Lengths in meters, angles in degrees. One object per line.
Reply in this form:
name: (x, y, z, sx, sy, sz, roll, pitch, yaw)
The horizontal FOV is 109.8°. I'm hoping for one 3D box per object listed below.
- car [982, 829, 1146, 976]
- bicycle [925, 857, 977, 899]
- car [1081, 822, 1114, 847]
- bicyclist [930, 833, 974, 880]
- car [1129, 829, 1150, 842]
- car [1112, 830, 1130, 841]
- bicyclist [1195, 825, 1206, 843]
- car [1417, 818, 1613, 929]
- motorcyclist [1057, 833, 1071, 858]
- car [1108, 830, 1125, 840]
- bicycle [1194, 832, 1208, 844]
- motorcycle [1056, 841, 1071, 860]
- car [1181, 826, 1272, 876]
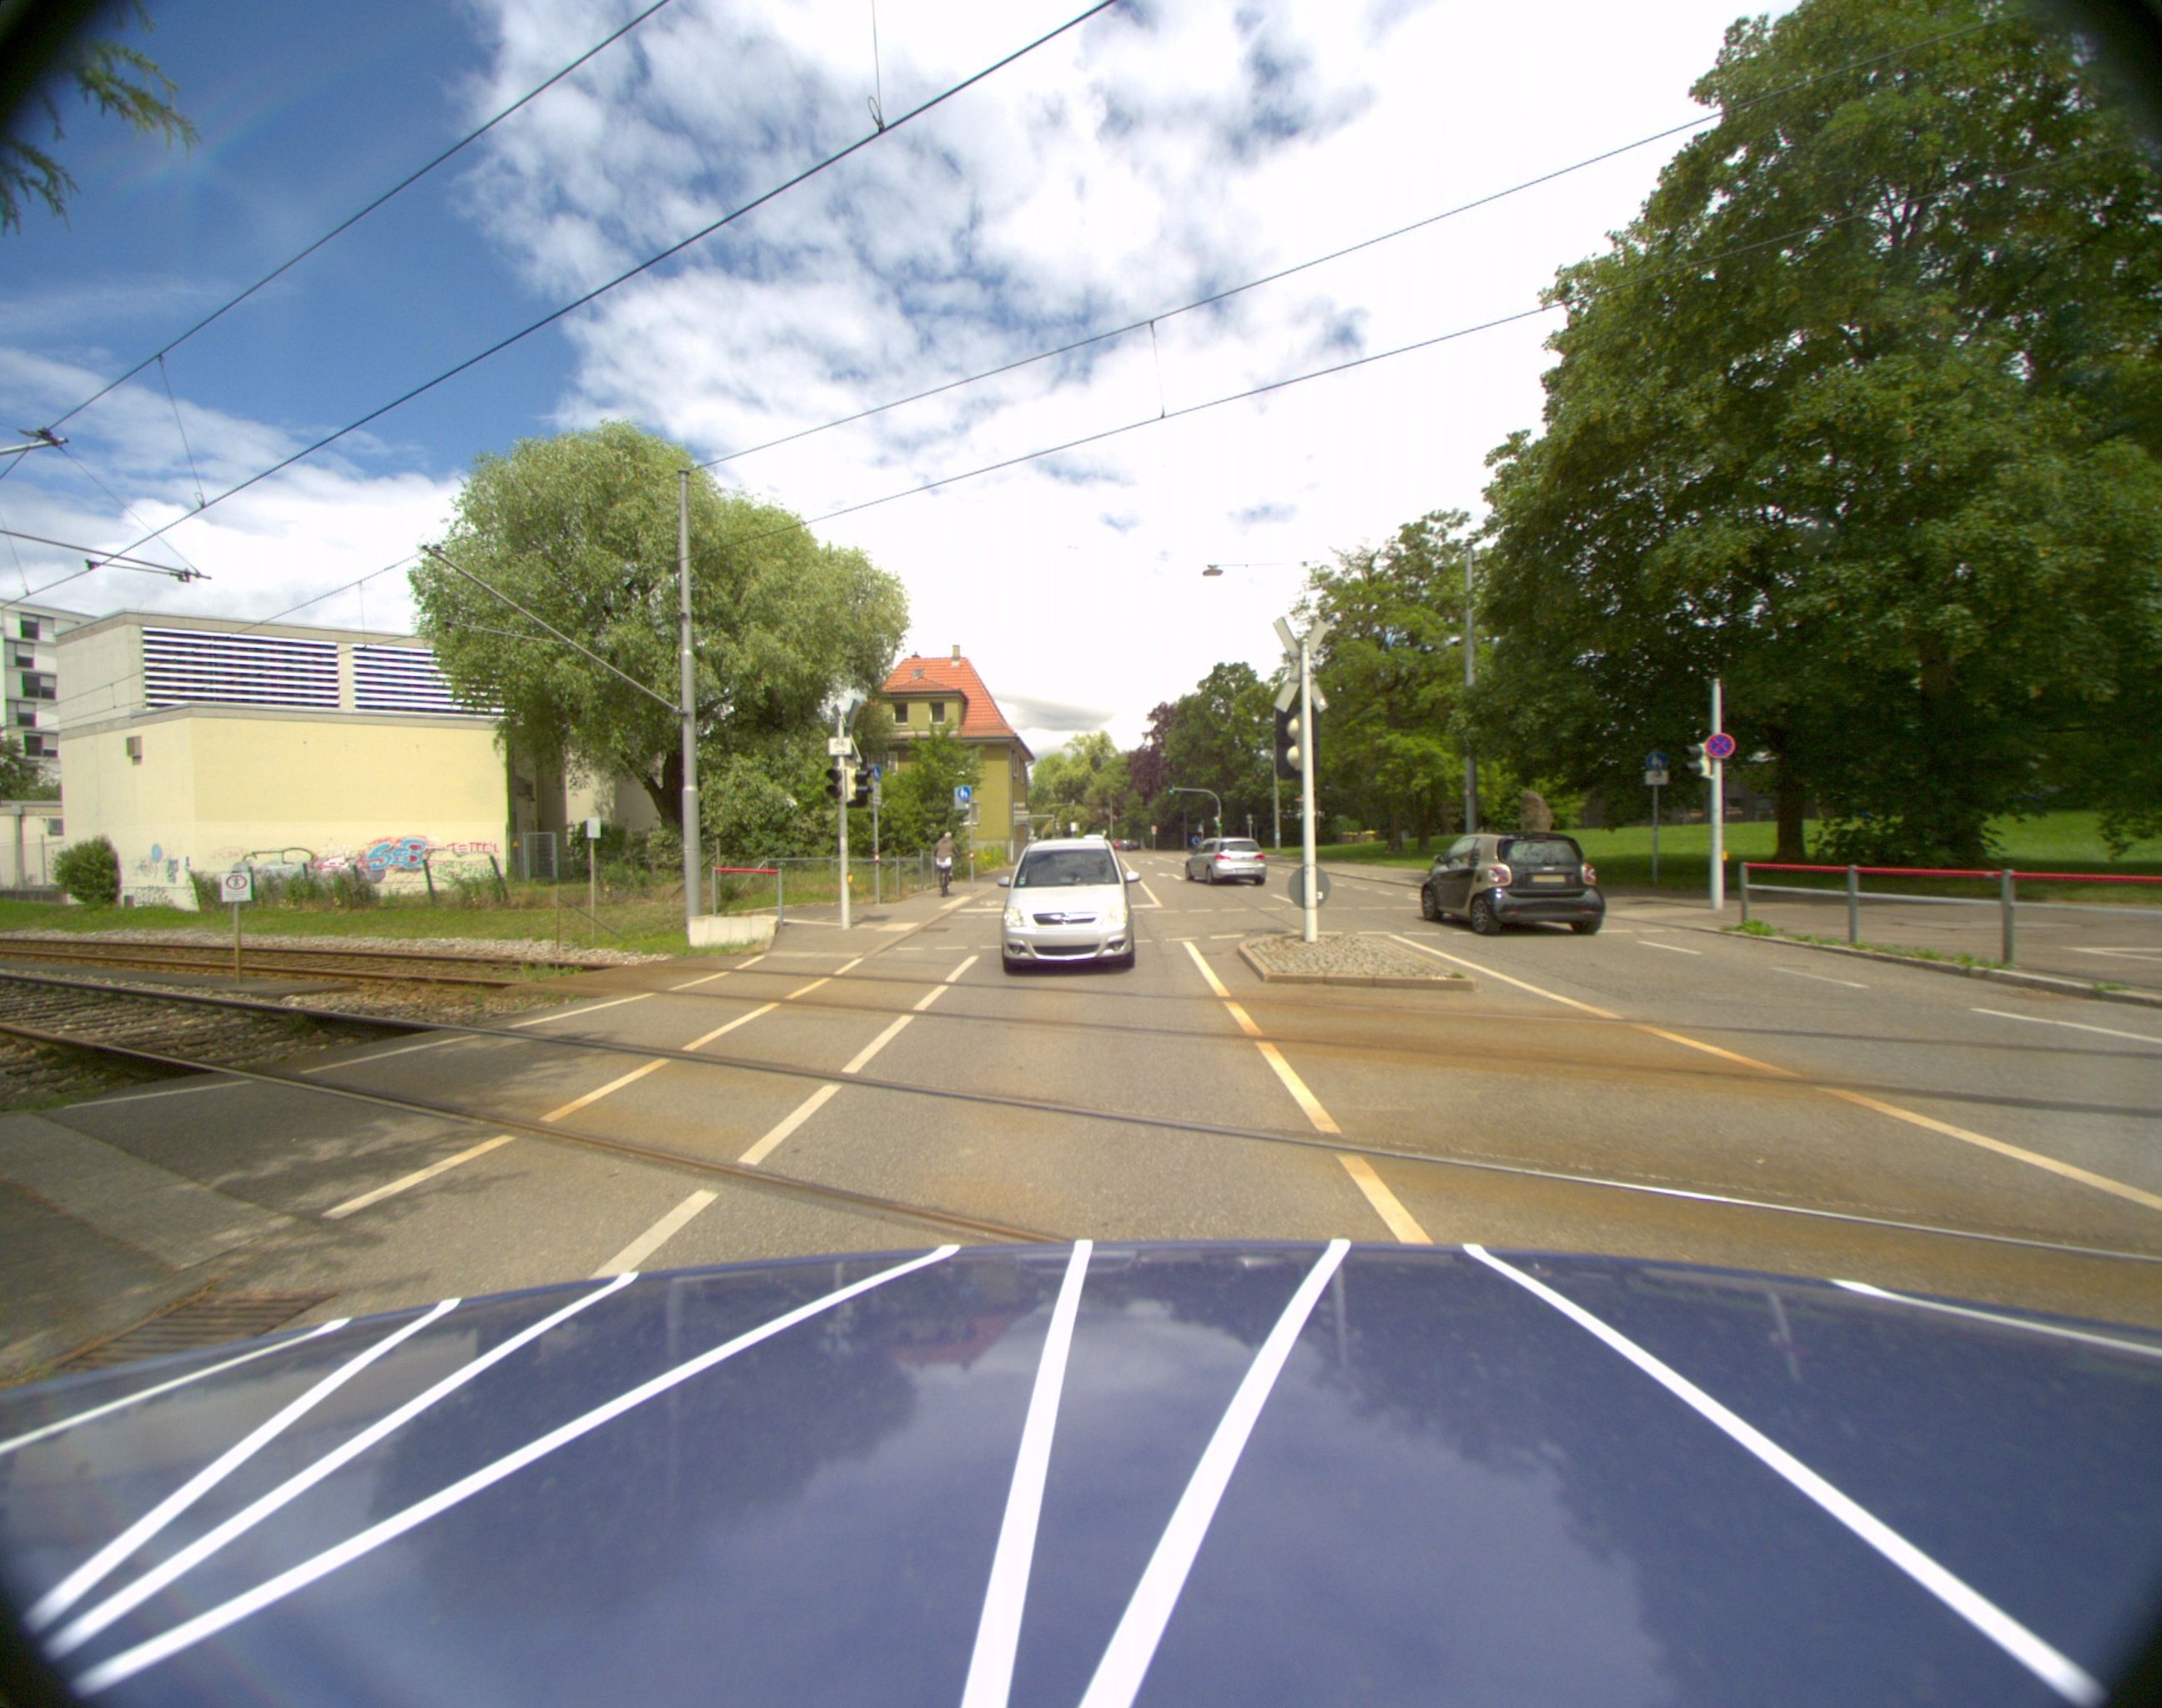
car: (-0.113, 0.498, 10.723, 1.780, 1.520, 3.998, -4, 3, 3)
bicycle: (-3.537, 0.635, 20.870, 0.934, 1.034, 1.915, 2, 1, 4)
car: (1.290, -1.647, 62.584, 2.000, 1.983, 4.366, -1, 2, -8)
bicyclist: (-3.525, 0.052, 20.830, 0.934, 1.240, 1.102, 2, 1, 4)
car: (7.423, -2.356, 96.857, 1.900, 1.502, 3.997, -1, 2, -6)
car: (5.593, -2.638, 106.349, 1.900, 1.502, 3.997, -1, 2, -6)
bicyclist: (11.136, -1.857, 70.747, 0.807, 1.599, 0.771, -3, 2, -4)
car: (6.637, 0.212, 11.951, 1.578, 1.502, 2.787, -1, 3, 2)
motorcyclist: (-1.063, -0.526, 46.417, 0.837, 1.548, 0.650, 0, 2, 0)
car: (5.129, -2.752, 110.957, 1.900, 1.502, 3.997, -1, 2, -6)
bicycle: (11.153, -1.497, 70.823, 0.814, 1.101, 1.799, -3, 2, -4)
motorcycle: (-1.064, -0.244, 46.510, 0.837, 1.101, 1.799, 0, 2, 1)
car: (4.601, -0.151, 24.632, 1.693, 1.450, 4.065, -1, 2, -7)
